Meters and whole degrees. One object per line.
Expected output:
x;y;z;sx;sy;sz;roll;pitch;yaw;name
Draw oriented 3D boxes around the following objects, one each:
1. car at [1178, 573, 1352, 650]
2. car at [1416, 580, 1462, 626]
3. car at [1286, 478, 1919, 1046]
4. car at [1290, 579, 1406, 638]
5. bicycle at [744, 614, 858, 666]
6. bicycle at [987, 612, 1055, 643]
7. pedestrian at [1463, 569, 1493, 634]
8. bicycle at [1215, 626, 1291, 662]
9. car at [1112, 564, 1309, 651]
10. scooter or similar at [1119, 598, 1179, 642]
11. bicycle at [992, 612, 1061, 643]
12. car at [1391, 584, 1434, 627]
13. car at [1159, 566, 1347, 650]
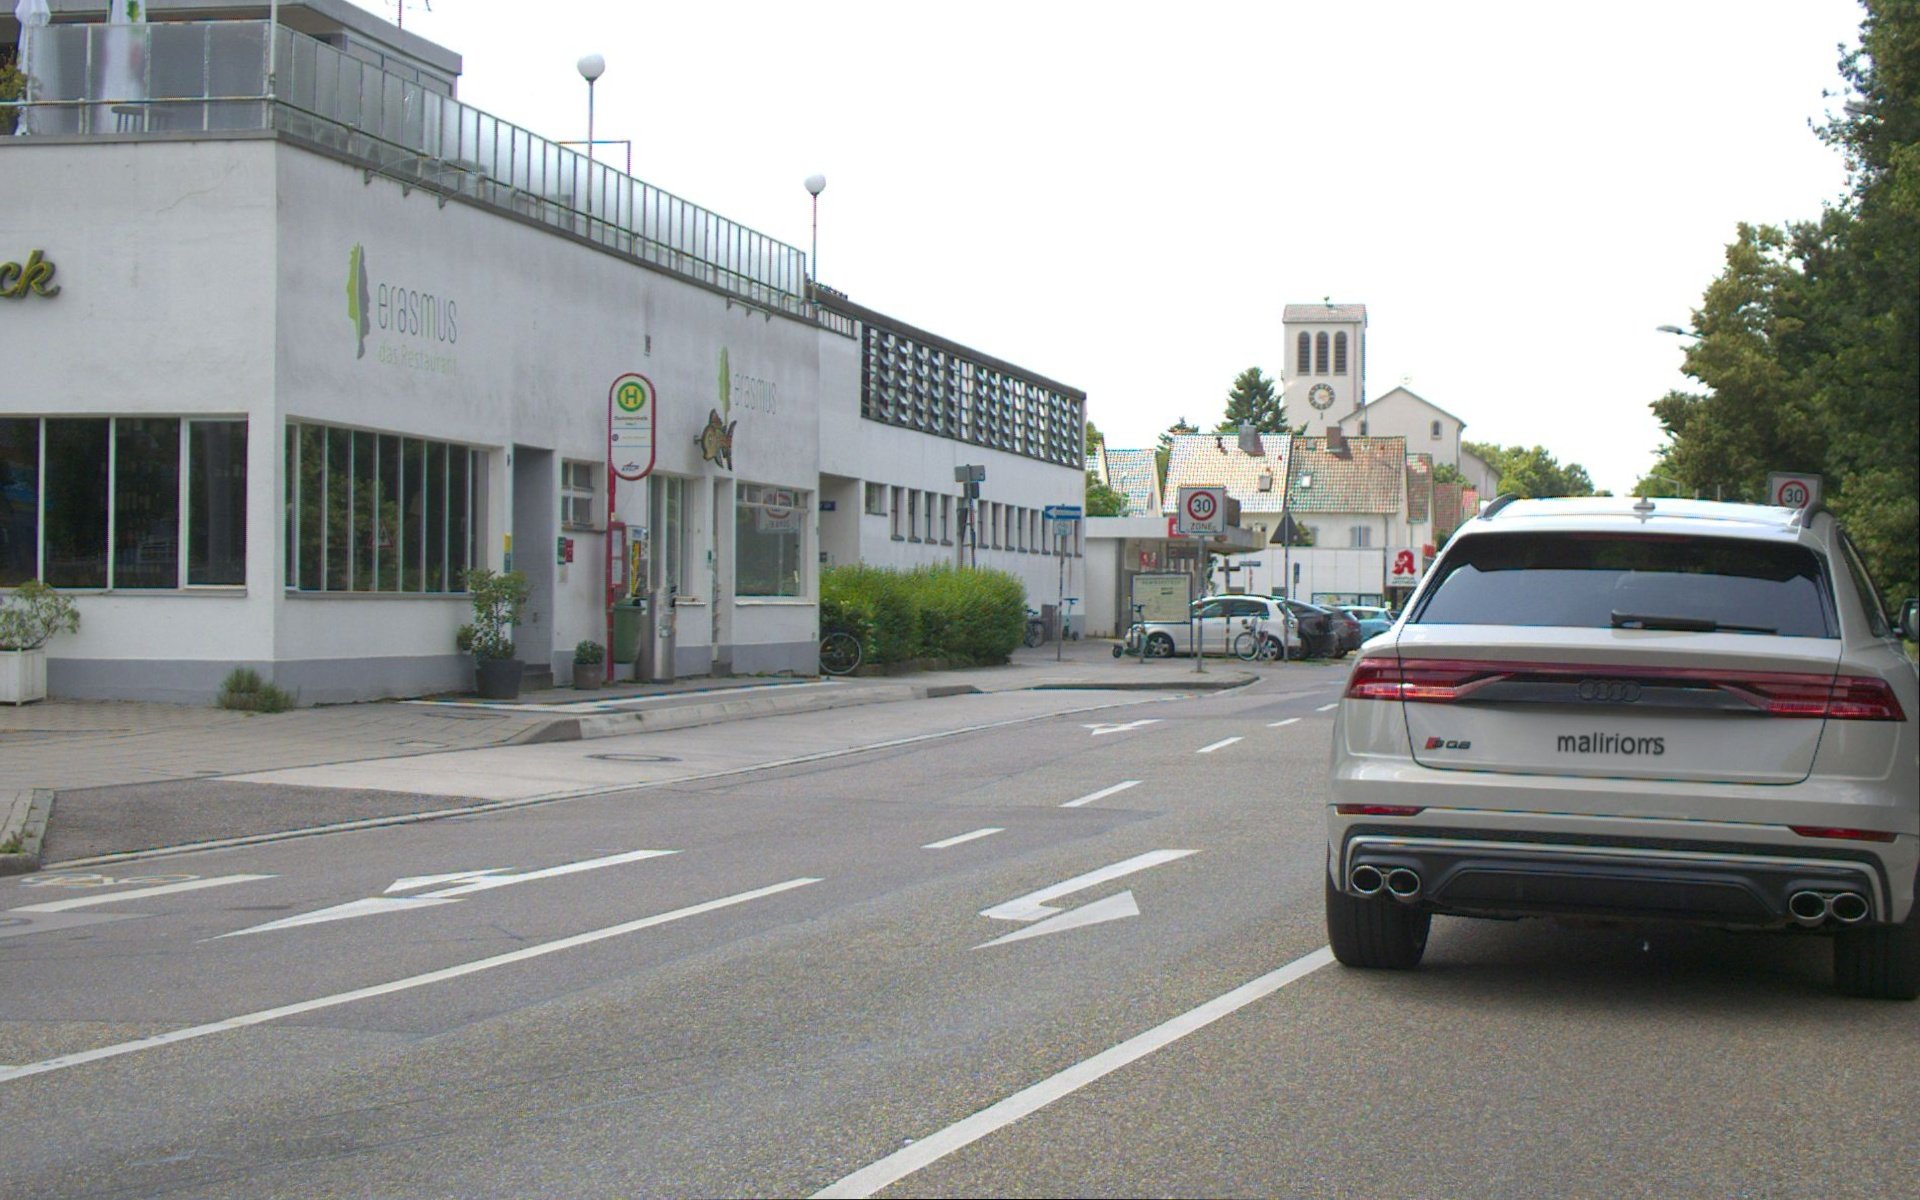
8.269;0.315;93.230;4.632;2.007;1.999;1;-1;6;car
21.793;0.128;156.507;1.994;2.007;3.999;1;0;8;car
2.649;0.472;12.899;1.983;1.678;4.570;2;1;16;car
13.609;0.298;120.719;3.988;2.007;2.000;0;0;5;car
-2.394;0.603;51.691;1.669;0.755;0.411;1;0;-6;bicycle
1.611;0.725;90.390;1.669;0.755;0.570;2;0;-15;bicycle
17.253;0.047;114.533;0.910;2.128;1.013;1;0;12;pedestrian
6.645;0.997;77.990;1.670;0.755;0.570;2;0;6;bicycle
6.025;0.189;82.365;4.632;2.007;1.999;1;-1;6;car
4.328;0.465;78.840;0.622;0.992;1.996;1;-1;-20;scooter or similar
1.735;0.724;89.623;1.669;0.755;0.570;2;0;-15;bicycle
21.806;0.262;165.619;1.994;2.007;3.999;1;0;8;car
7.371;0.216;86.439;4.632;2.007;1.999;1;-1;6;car
